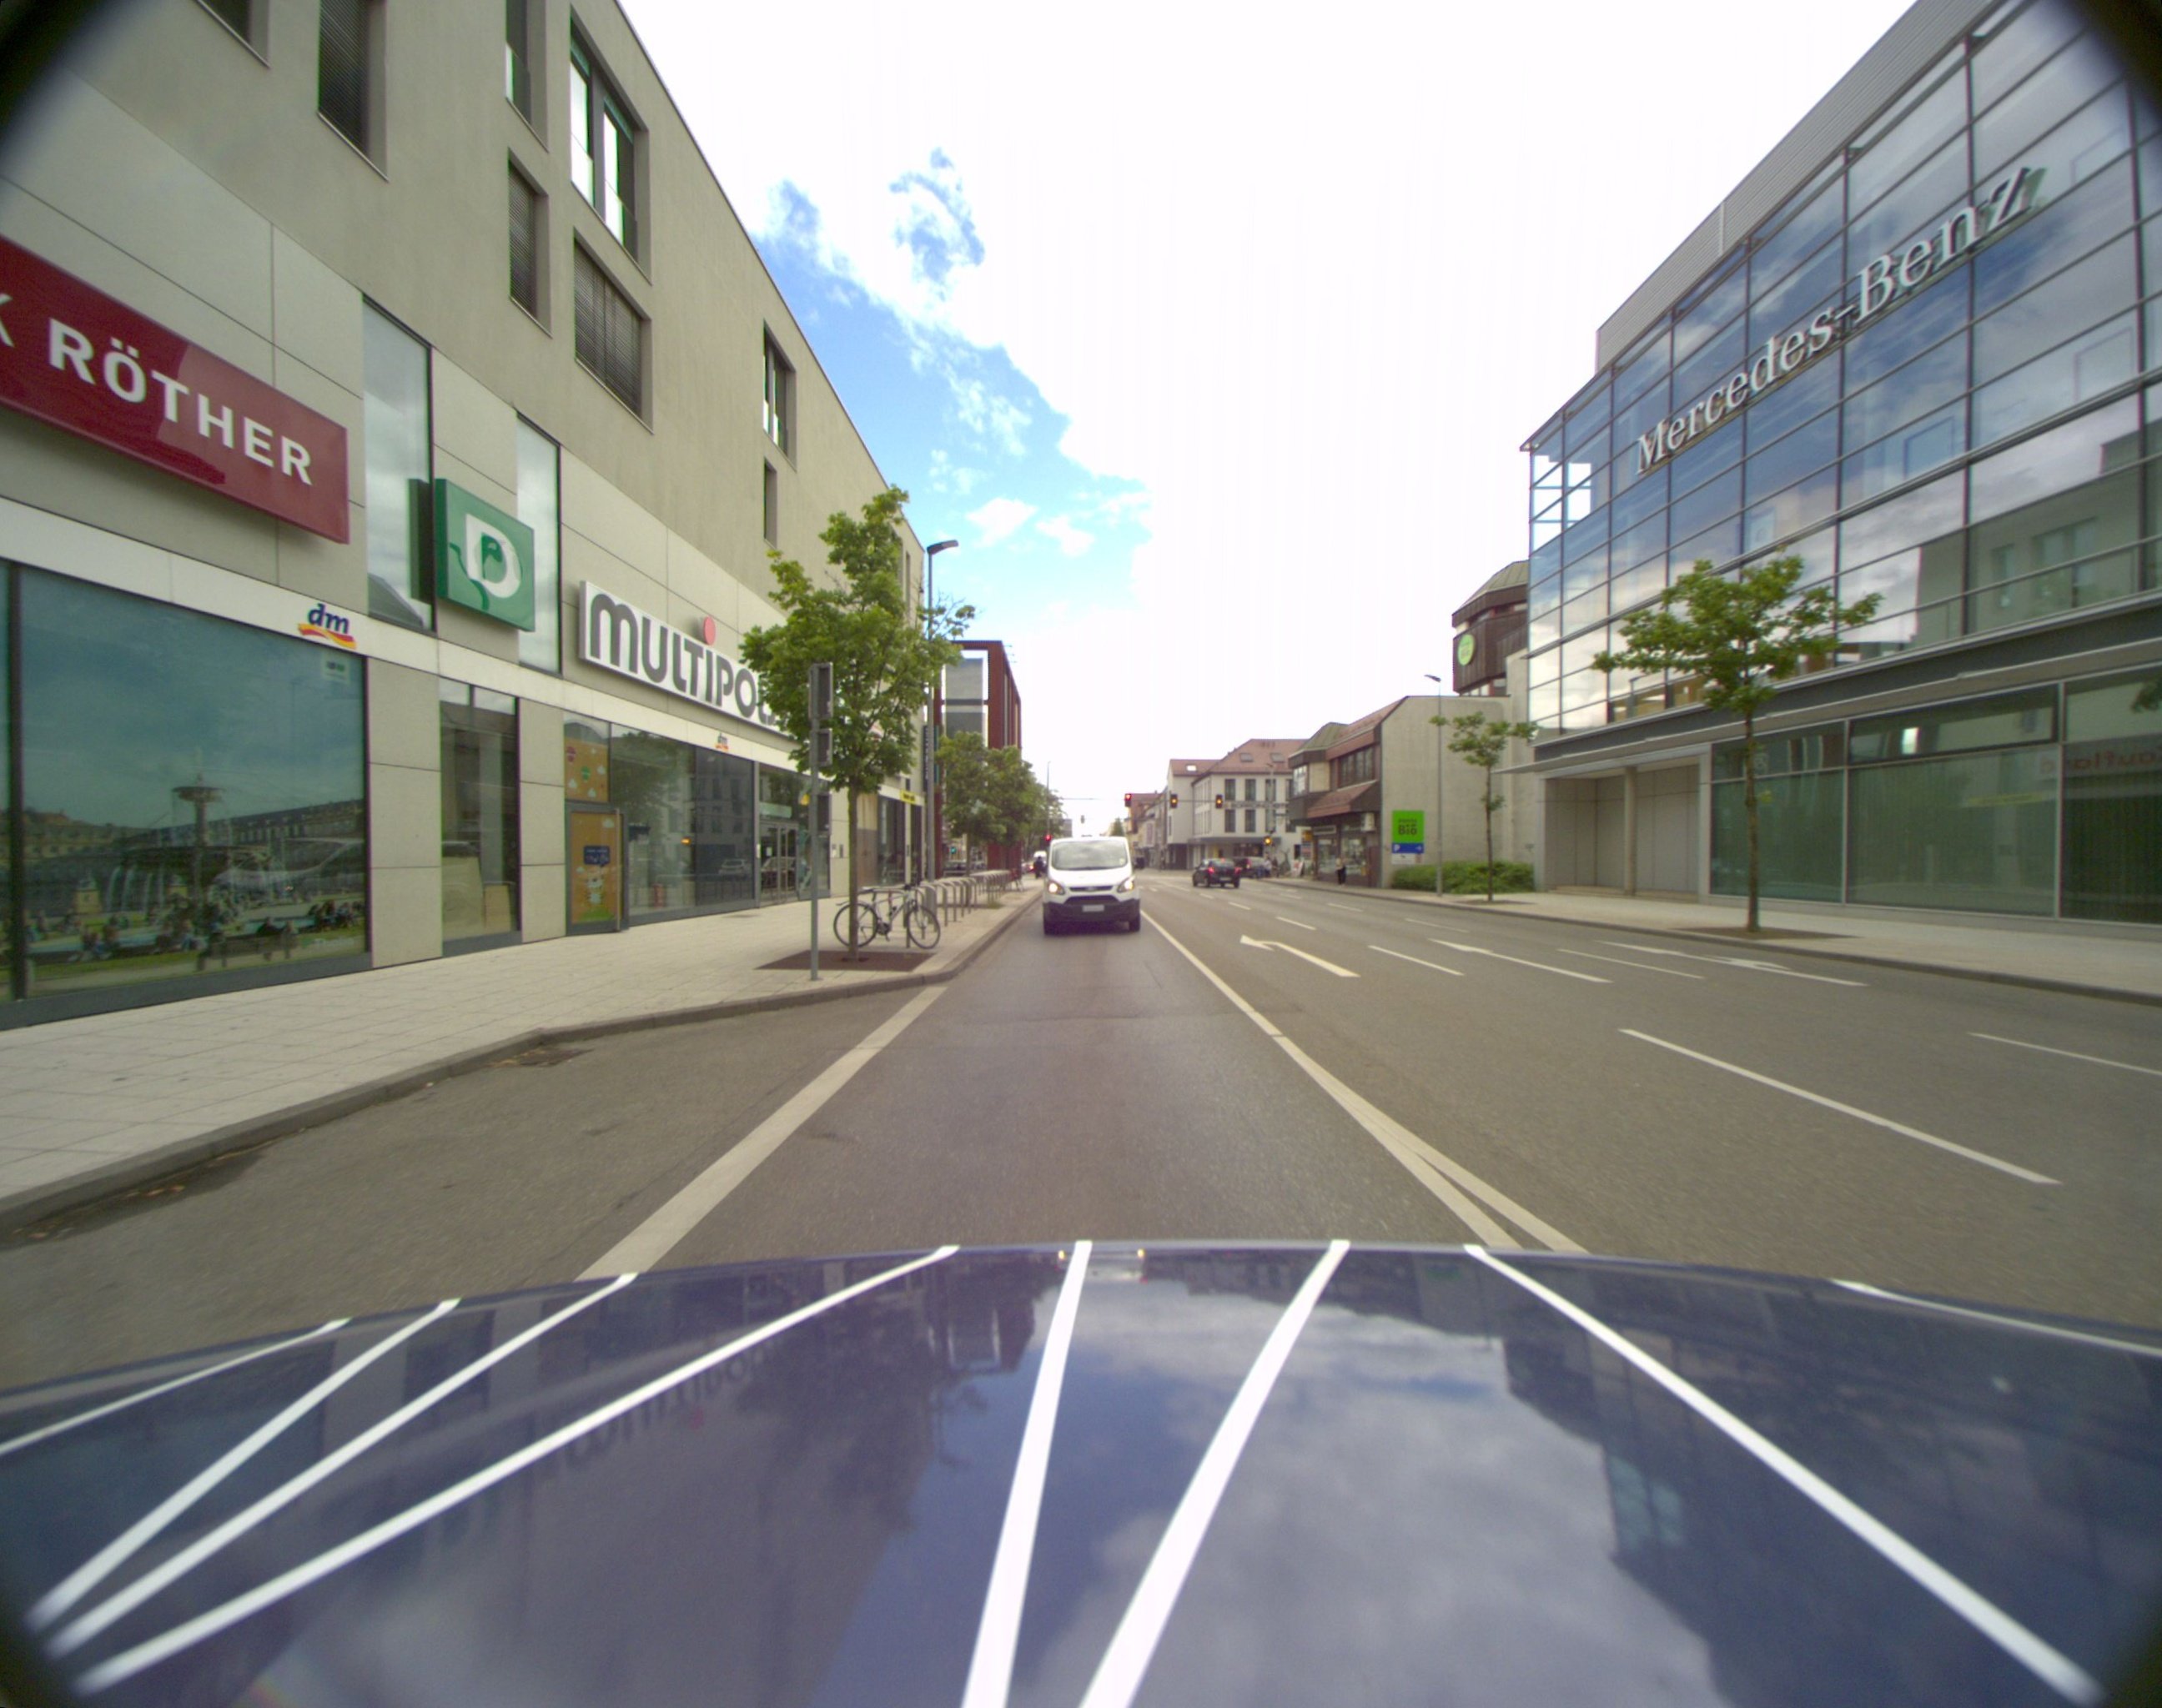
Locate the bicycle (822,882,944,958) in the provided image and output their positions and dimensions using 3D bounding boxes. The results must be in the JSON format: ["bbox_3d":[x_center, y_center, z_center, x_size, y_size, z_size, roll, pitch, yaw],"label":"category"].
[{"bbox_3d":[-3.052,1.022,11.844,1.745,1.093,0.561,2,0,-7],"label":"bicycle"}]

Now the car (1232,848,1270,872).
[{"bbox_3d":[13.773,0.431,61.427,1.933,1.883,4.008,0,0,29],"label":"car"}]

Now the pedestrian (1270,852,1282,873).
[{"bbox_3d":[14.385,0.603,56.010,0.555,1.507,0.582,0,1,-32],"label":"pedestrian"}]

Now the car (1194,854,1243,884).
[{"bbox_3d":[7.024,0.748,39.133,1.802,1.458,3.999,0,0,0],"label":"car"}]

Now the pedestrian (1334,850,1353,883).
[{"bbox_3d":[12.796,0.606,37.026,0.702,1.614,0.693,0,1,1],"label":"pedestrian"}]

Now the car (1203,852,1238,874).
[{"bbox_3d":[10.082,0.626,55.118,1.937,1.458,4.000,0,0,1],"label":"car"}]

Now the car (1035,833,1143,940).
[{"bbox_3d":[0.179,0.595,17.035,2.000,1.976,5.000,-2,1,1],"label":"car"}]

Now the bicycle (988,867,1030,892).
[{"bbox_3d":[-3.019,1.059,31.948,1.745,1.015,0.451,1,1,-6],"label":"bicycle"}]
